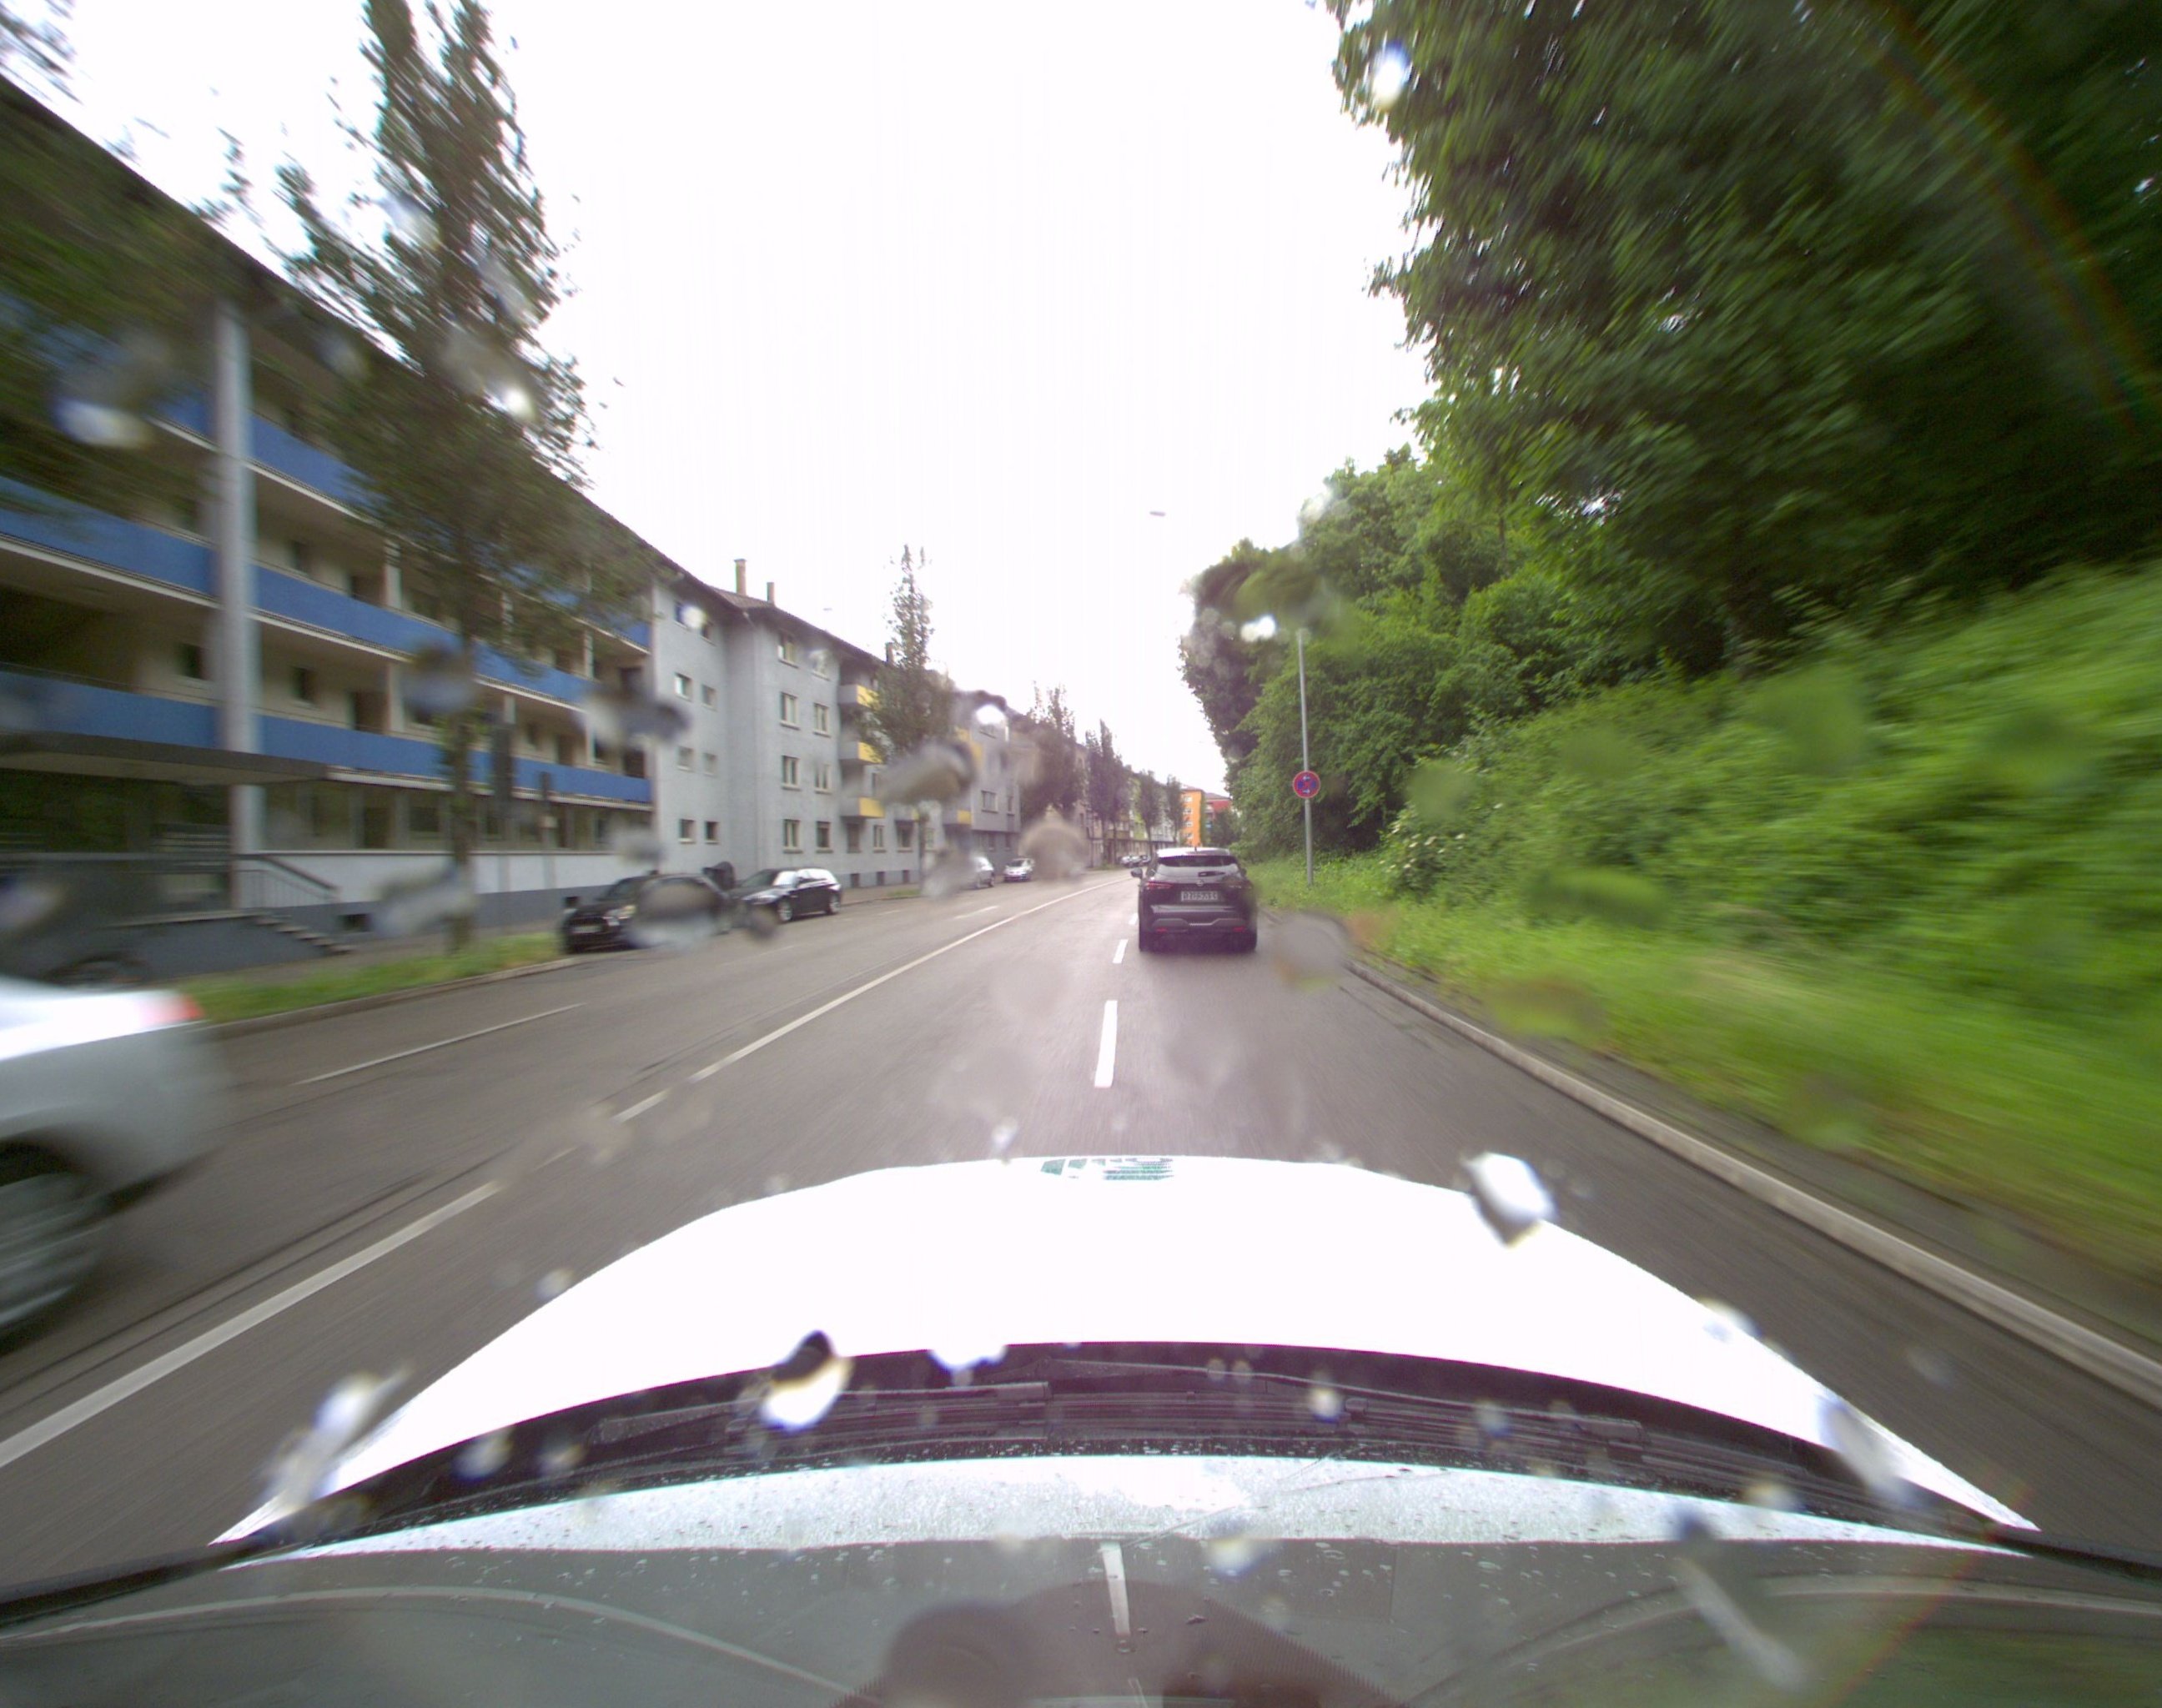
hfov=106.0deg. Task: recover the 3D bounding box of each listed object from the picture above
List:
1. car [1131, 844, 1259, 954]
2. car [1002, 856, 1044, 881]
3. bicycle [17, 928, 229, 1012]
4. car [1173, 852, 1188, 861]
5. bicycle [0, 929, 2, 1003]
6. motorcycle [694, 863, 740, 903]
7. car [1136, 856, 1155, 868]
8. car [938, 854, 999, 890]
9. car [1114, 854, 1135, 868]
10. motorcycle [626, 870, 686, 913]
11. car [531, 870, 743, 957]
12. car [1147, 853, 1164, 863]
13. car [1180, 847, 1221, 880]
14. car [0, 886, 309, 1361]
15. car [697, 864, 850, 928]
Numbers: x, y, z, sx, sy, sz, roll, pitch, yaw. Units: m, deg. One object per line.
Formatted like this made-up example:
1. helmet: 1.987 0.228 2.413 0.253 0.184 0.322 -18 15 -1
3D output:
1. car: 1.769 0.639 13.783 1.837 1.582 4.004 0 0 3
2. car: -3.637 0.906 51.678 1.714 1.453 4.216 -2 0 9
3. bicycle: -12.294 1.457 10.548 0.665 0.825 1.740 2 0 -1
4. car: 17.102 0.399 139.892 1.676 1.358 4.598 -5 -1 15
5. bicycle: -12.782 1.238 8.608 0.612 1.023 1.728 -2 0 -9
6. motorcycle: -13.637 1.073 30.574 0.673 1.414 2.236 1 0 0
7. car: 8.388 1.019 106.034 1.706 1.489 4.531 -3 0 13
8. car: -5.550 0.864 40.749 1.754 1.604 4.544 -2 0 8
9. car: 4.904 0.776 90.997 1.614 1.387 4.003 -2 0 13
10. motorcycle: -13.683 1.185 26.285 0.672 1.254 2.238 1 0 3
11. car: -9.017 1.134 17.016 1.770 1.403 4.096 -4 0 6
12. car: 10.739 0.588 117.547 1.805 1.372 4.696 -3 0 12
13. car: 6.567 0.529 45.168 1.879 1.711 4.003 -1 0 3
14. car: -4.208 0.882 1.245 1.747 1.425 4.534 -2 0 -1
15. car: -8.303 1.073 22.572 1.811 1.439 4.902 -4 -1 7
